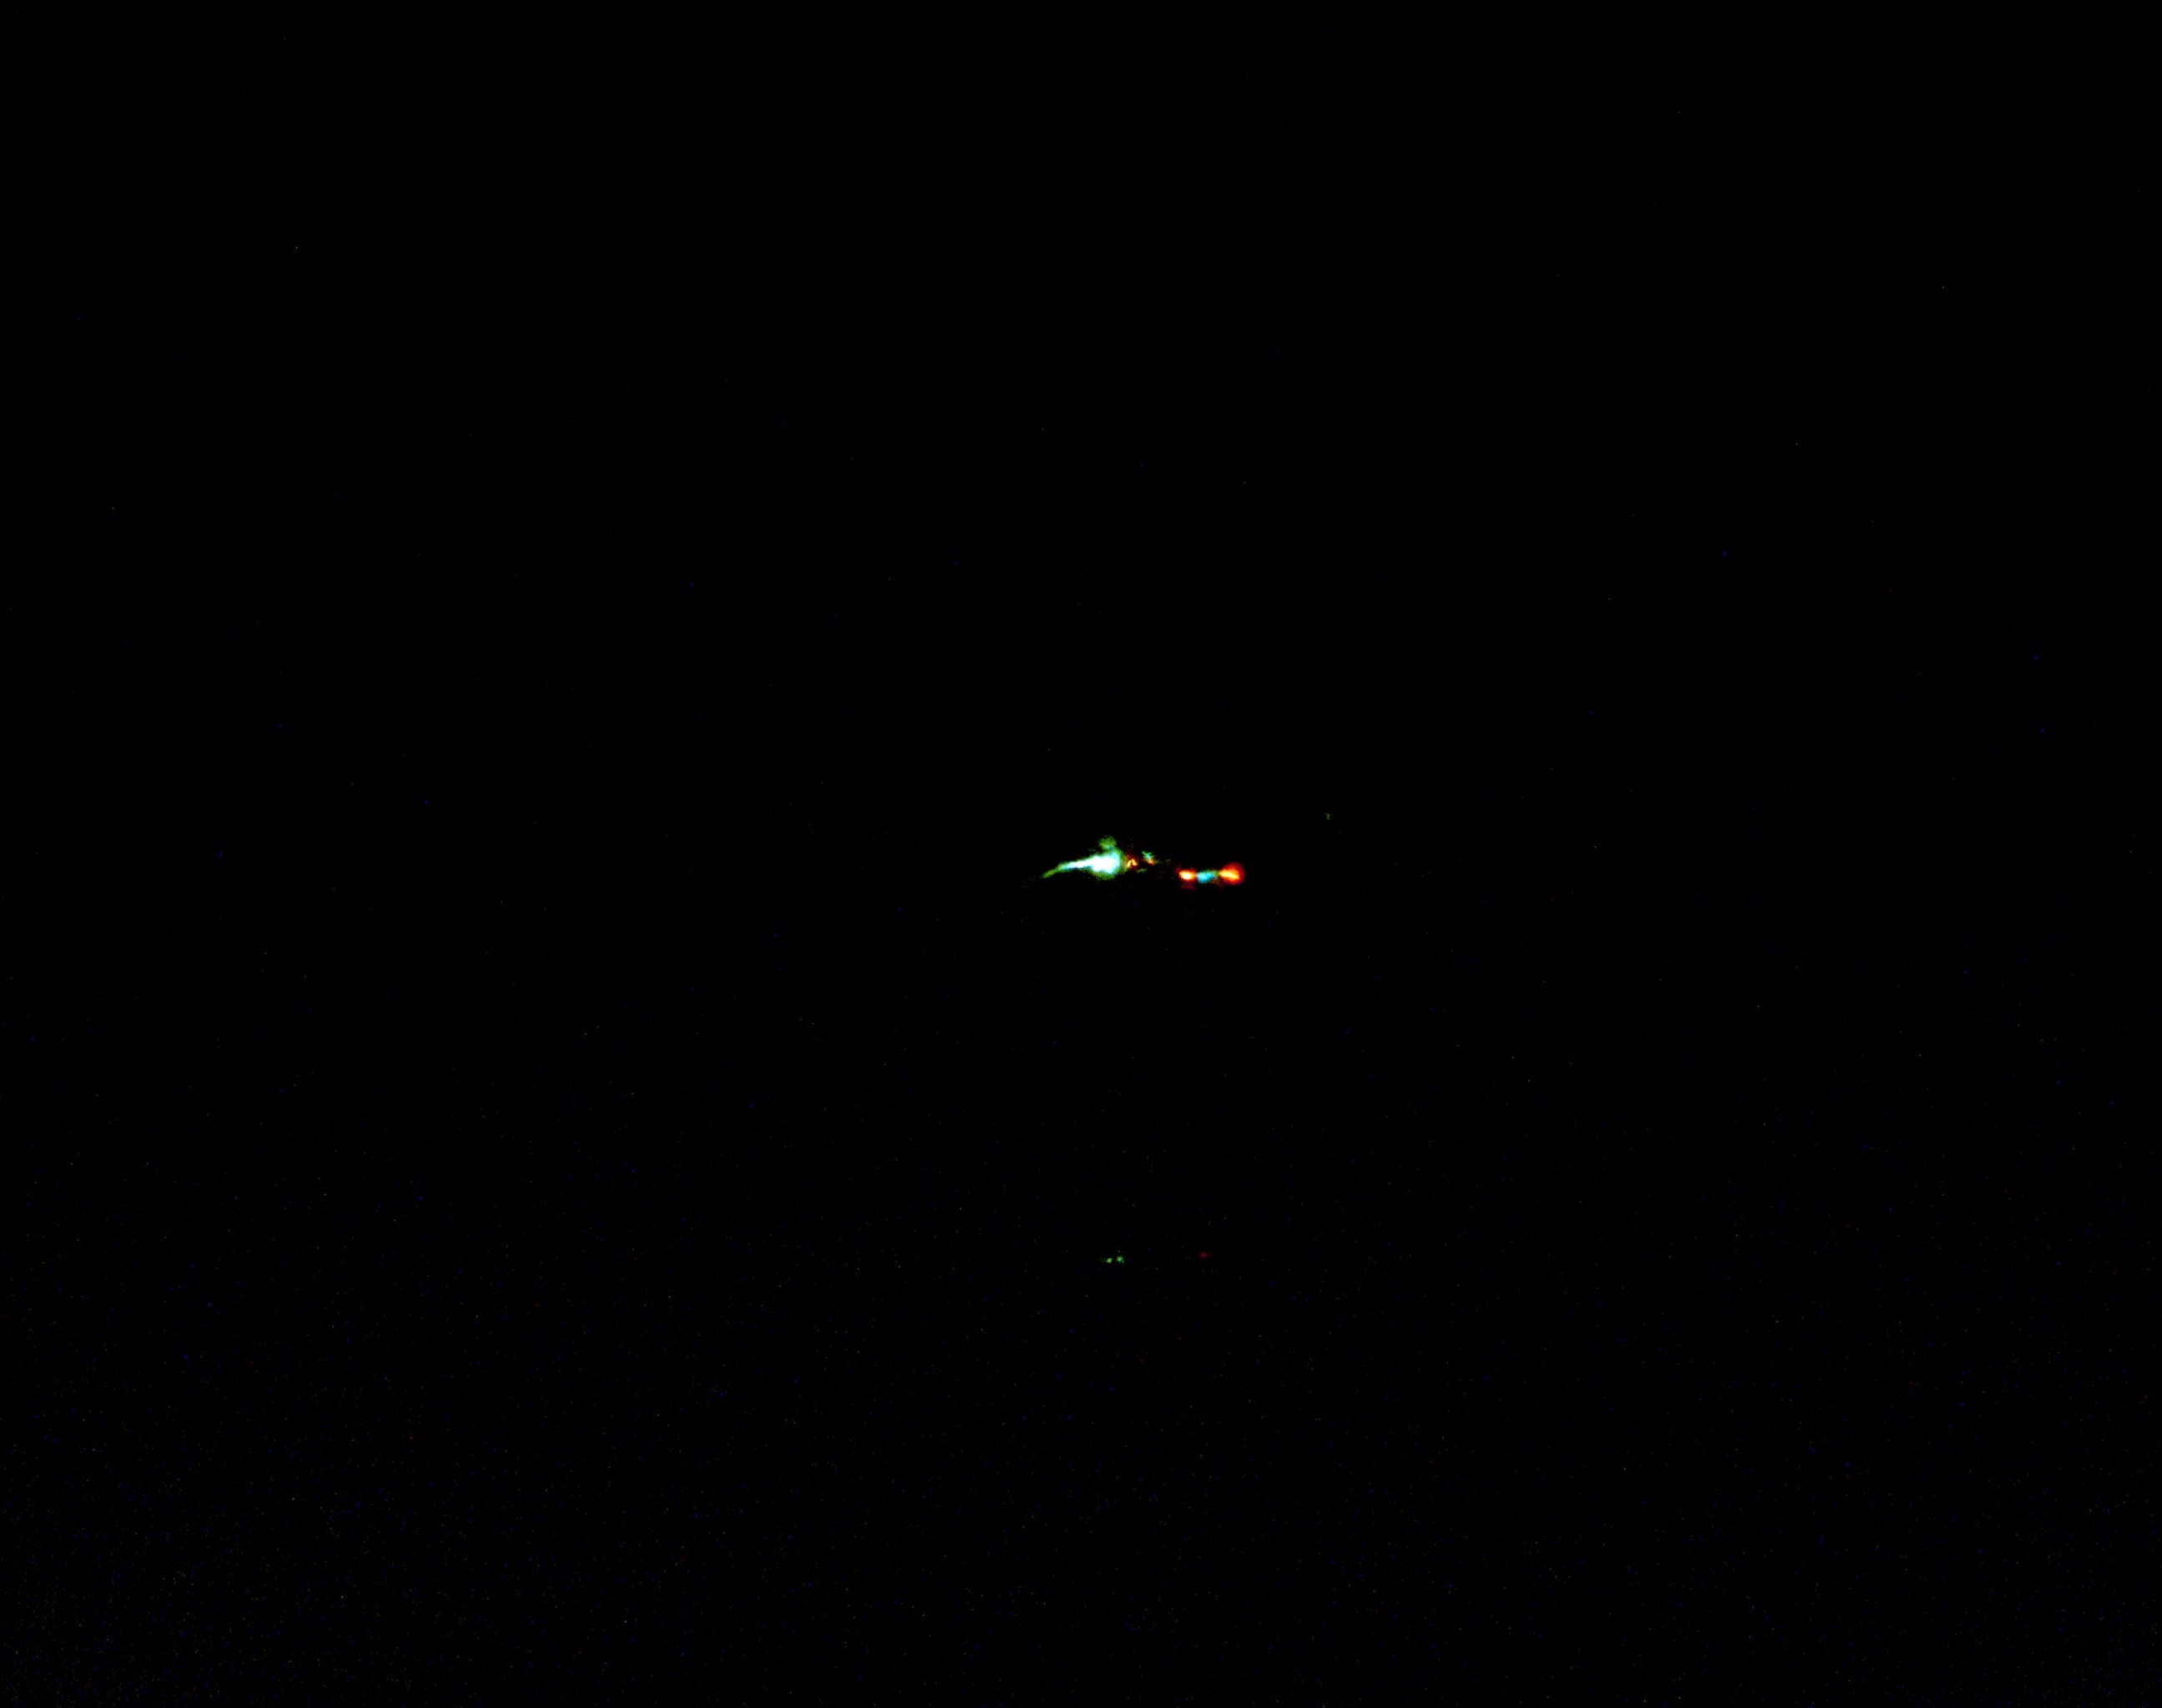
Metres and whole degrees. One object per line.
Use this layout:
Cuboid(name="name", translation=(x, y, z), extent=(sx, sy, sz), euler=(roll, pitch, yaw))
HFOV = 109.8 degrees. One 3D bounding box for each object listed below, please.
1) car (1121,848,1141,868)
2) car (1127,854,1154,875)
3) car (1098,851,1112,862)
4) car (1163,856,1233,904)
Cuboid(name="car", translation=(4.857, 0.340, 73.933), extent=(1.837, 1.860, 4.430), euler=(-2, 0, 3))
Cuboid(name="car", translation=(4.334, 0.737, 55.479), extent=(1.669, 1.447, 3.426), euler=(-2, 0, 0))
Cuboid(name="car", translation=(3.762, 0.316, 117.838), extent=(1.746, 1.623, 3.738), euler=(-2, 0, 7))
Cuboid(name="car", translation=(3.696, 0.766, 24.499), extent=(1.645, 1.351, 3.680), euler=(-2, 0, 0))
